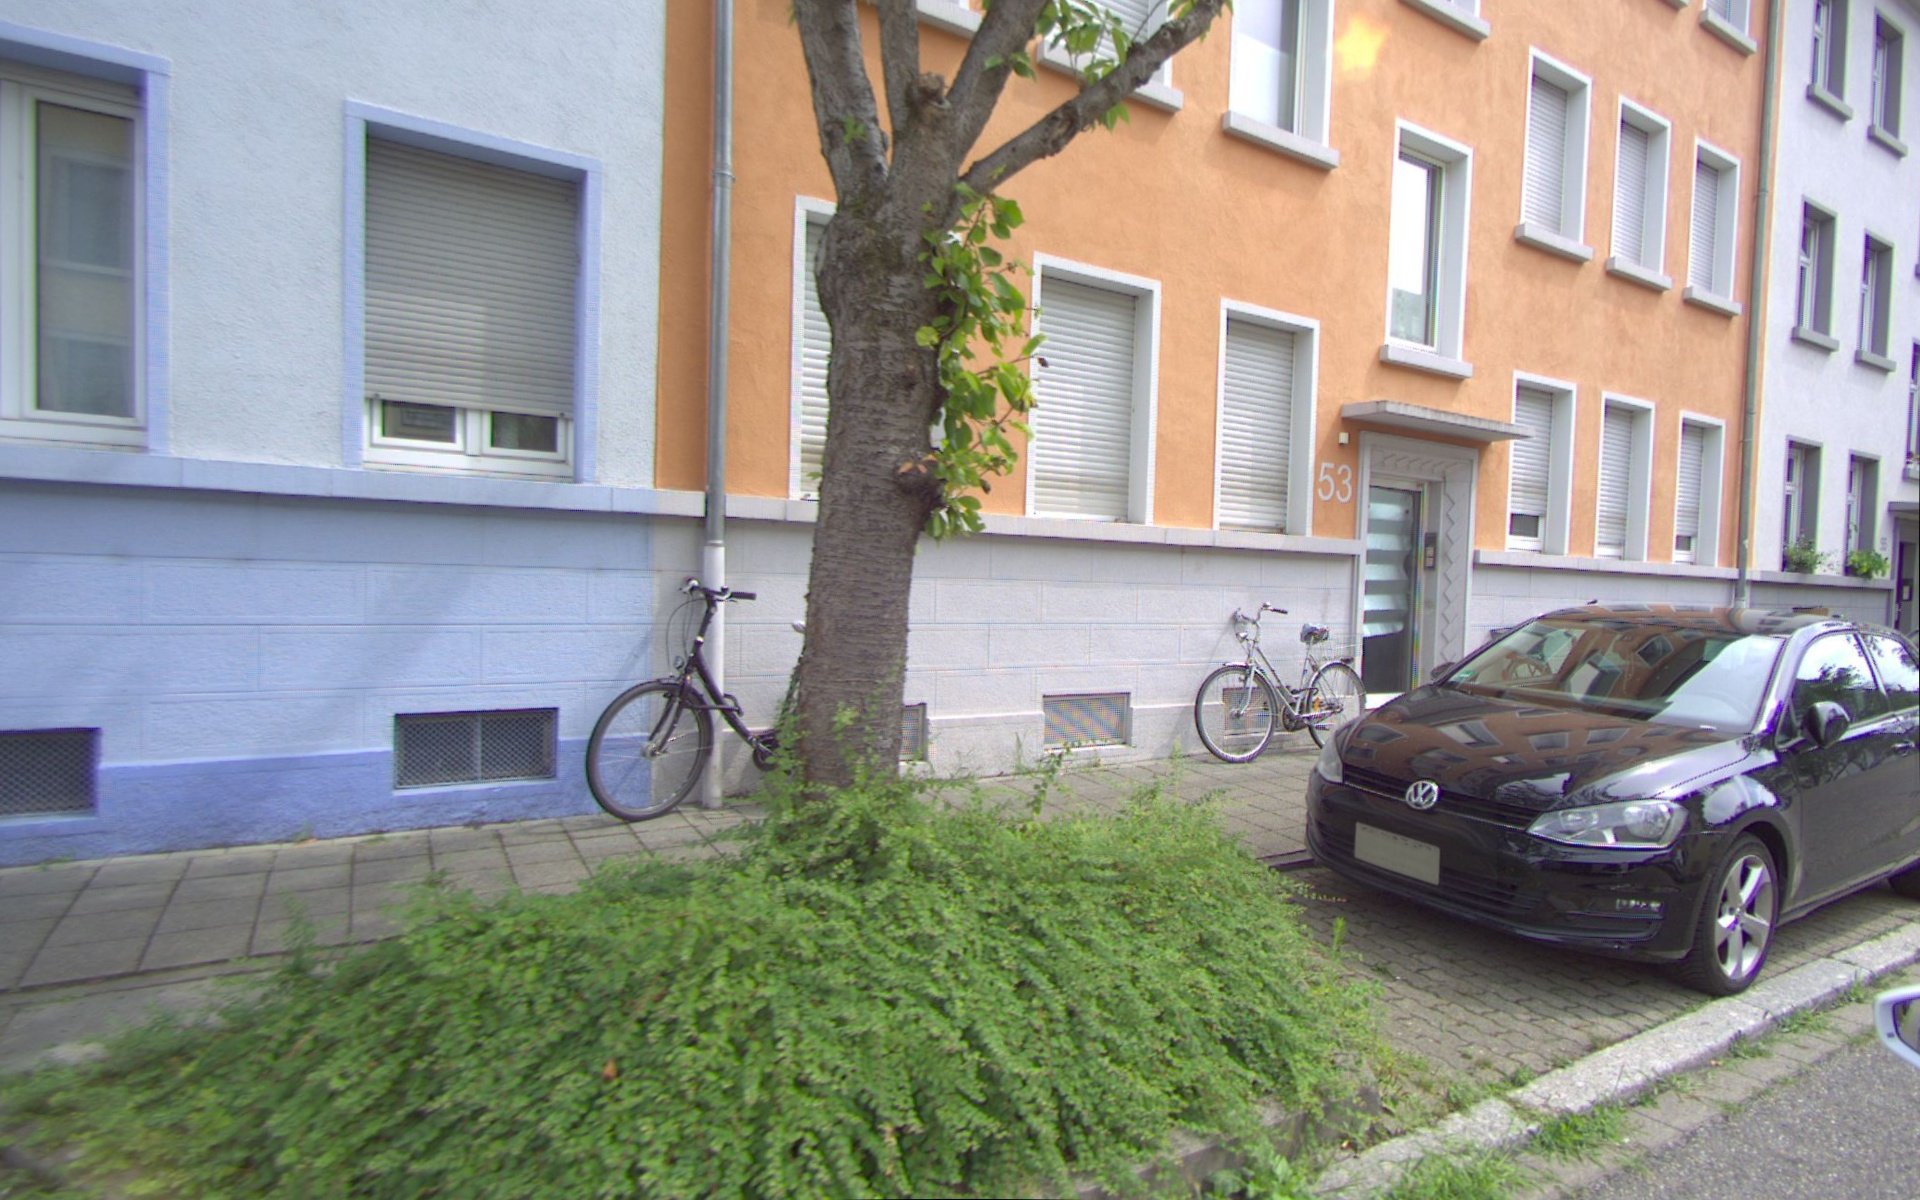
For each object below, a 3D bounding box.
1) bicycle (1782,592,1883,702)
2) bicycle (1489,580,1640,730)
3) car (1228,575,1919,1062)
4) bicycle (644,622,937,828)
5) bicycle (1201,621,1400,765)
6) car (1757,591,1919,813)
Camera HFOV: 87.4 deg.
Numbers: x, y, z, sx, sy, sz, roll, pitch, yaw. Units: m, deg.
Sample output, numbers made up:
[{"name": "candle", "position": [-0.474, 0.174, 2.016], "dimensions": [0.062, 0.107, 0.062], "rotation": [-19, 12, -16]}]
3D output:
[{"name": "bicycle", "position": [11.318, 0.603, 13.018], "dimensions": [1.790, 1.352, 0.427], "rotation": [1, -1, -30]}, {"name": "bicycle", "position": [5.866, 0.515, 9.711], "dimensions": [1.790, 1.352, 0.427], "rotation": [1, -1, -30]}, {"name": "car", "position": [3.487, 0.733, 5.098], "dimensions": [4.050, 1.504, 1.825], "rotation": [1, 3, -33]}, {"name": "bicycle", "position": [-0.894, 0.638, 5.523], "dimensions": [1.552, 1.009, 0.365], "rotation": [1, 0, -32]}, {"name": "bicycle", "position": [2.679, 0.689, 7.807], "dimensions": [1.847, 1.019, 0.365], "rotation": [1, -1, -32]}, {"name": "car", "position": [8.509, 0.799, 8.222], "dimensions": [4.077, 1.504, 1.825], "rotation": [1, 4, -33]}]
